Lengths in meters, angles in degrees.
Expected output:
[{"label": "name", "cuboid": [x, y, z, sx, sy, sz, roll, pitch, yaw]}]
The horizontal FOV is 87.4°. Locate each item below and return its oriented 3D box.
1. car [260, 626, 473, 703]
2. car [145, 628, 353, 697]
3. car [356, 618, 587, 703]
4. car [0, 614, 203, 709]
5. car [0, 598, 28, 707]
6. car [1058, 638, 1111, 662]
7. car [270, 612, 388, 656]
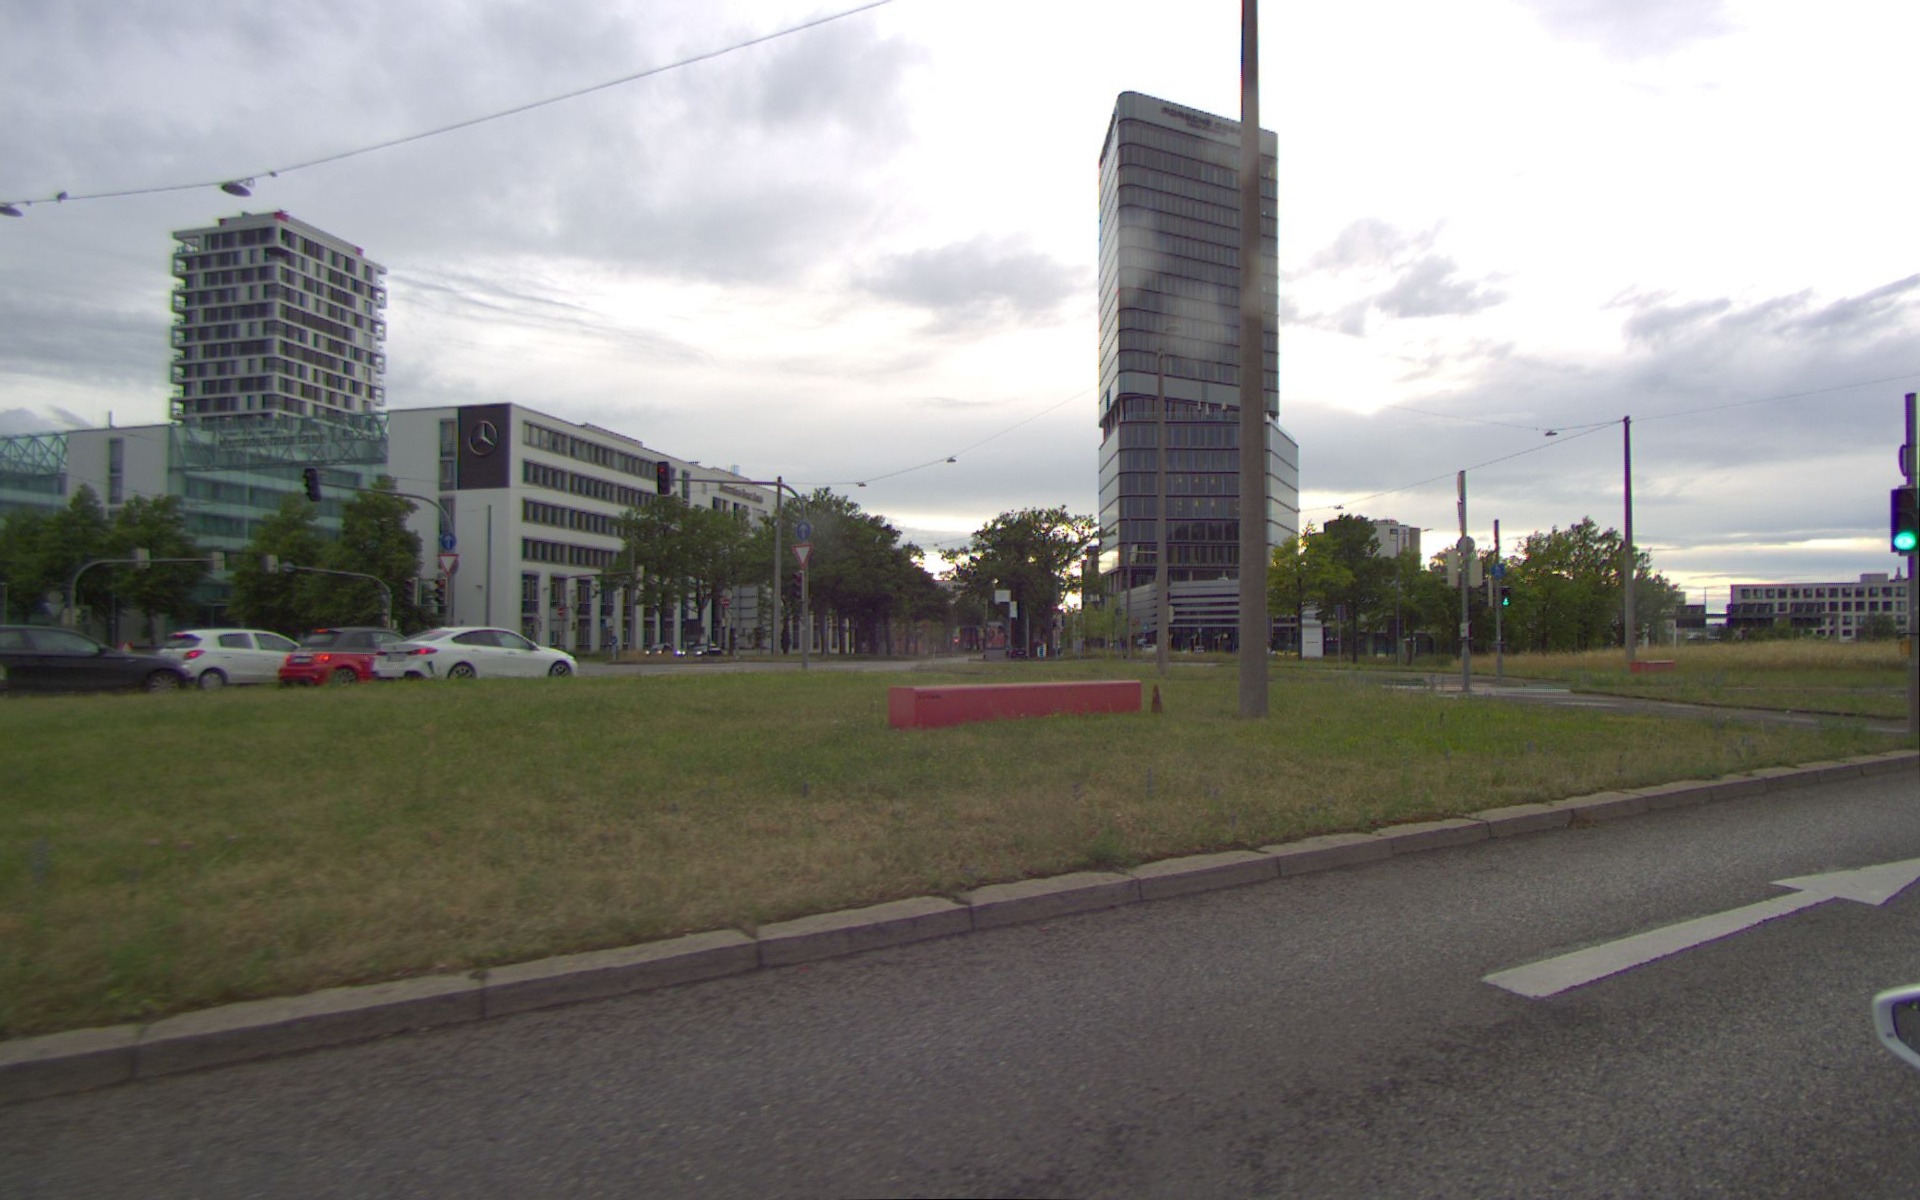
[{"label": "car", "cuboid": [-13.837, 1.485, 23.698, 1.785, 1.644, 3.999, -1, -3, 24]}, {"label": "car", "cuboid": [-16.907, 1.474, 24.098, 1.553, 1.499, 3.773, -1, -3, 24]}, {"label": "car", "cuboid": [-10.620, 1.278, 22.221, 1.889, 1.665, 4.389, 0, -2, 24]}, {"label": "car", "cuboid": [-16.389, 1.056, 18.041, 1.964, 1.587, 3.994, 0, -1, 29]}, {"label": "car", "cuboid": [-14.772, 0.737, 12.731, 1.842, 1.481, 3.968, -2, -1, 30]}, {"label": "car", "cuboid": [8.704, 3.464, 70.247, 3.499, 1.581, 1.648, 0, -1, 15]}, {"label": "car", "cuboid": [-24.749, 1.308, 39.535, 3.687, 1.639, 1.737, 0, 0, -23]}]
